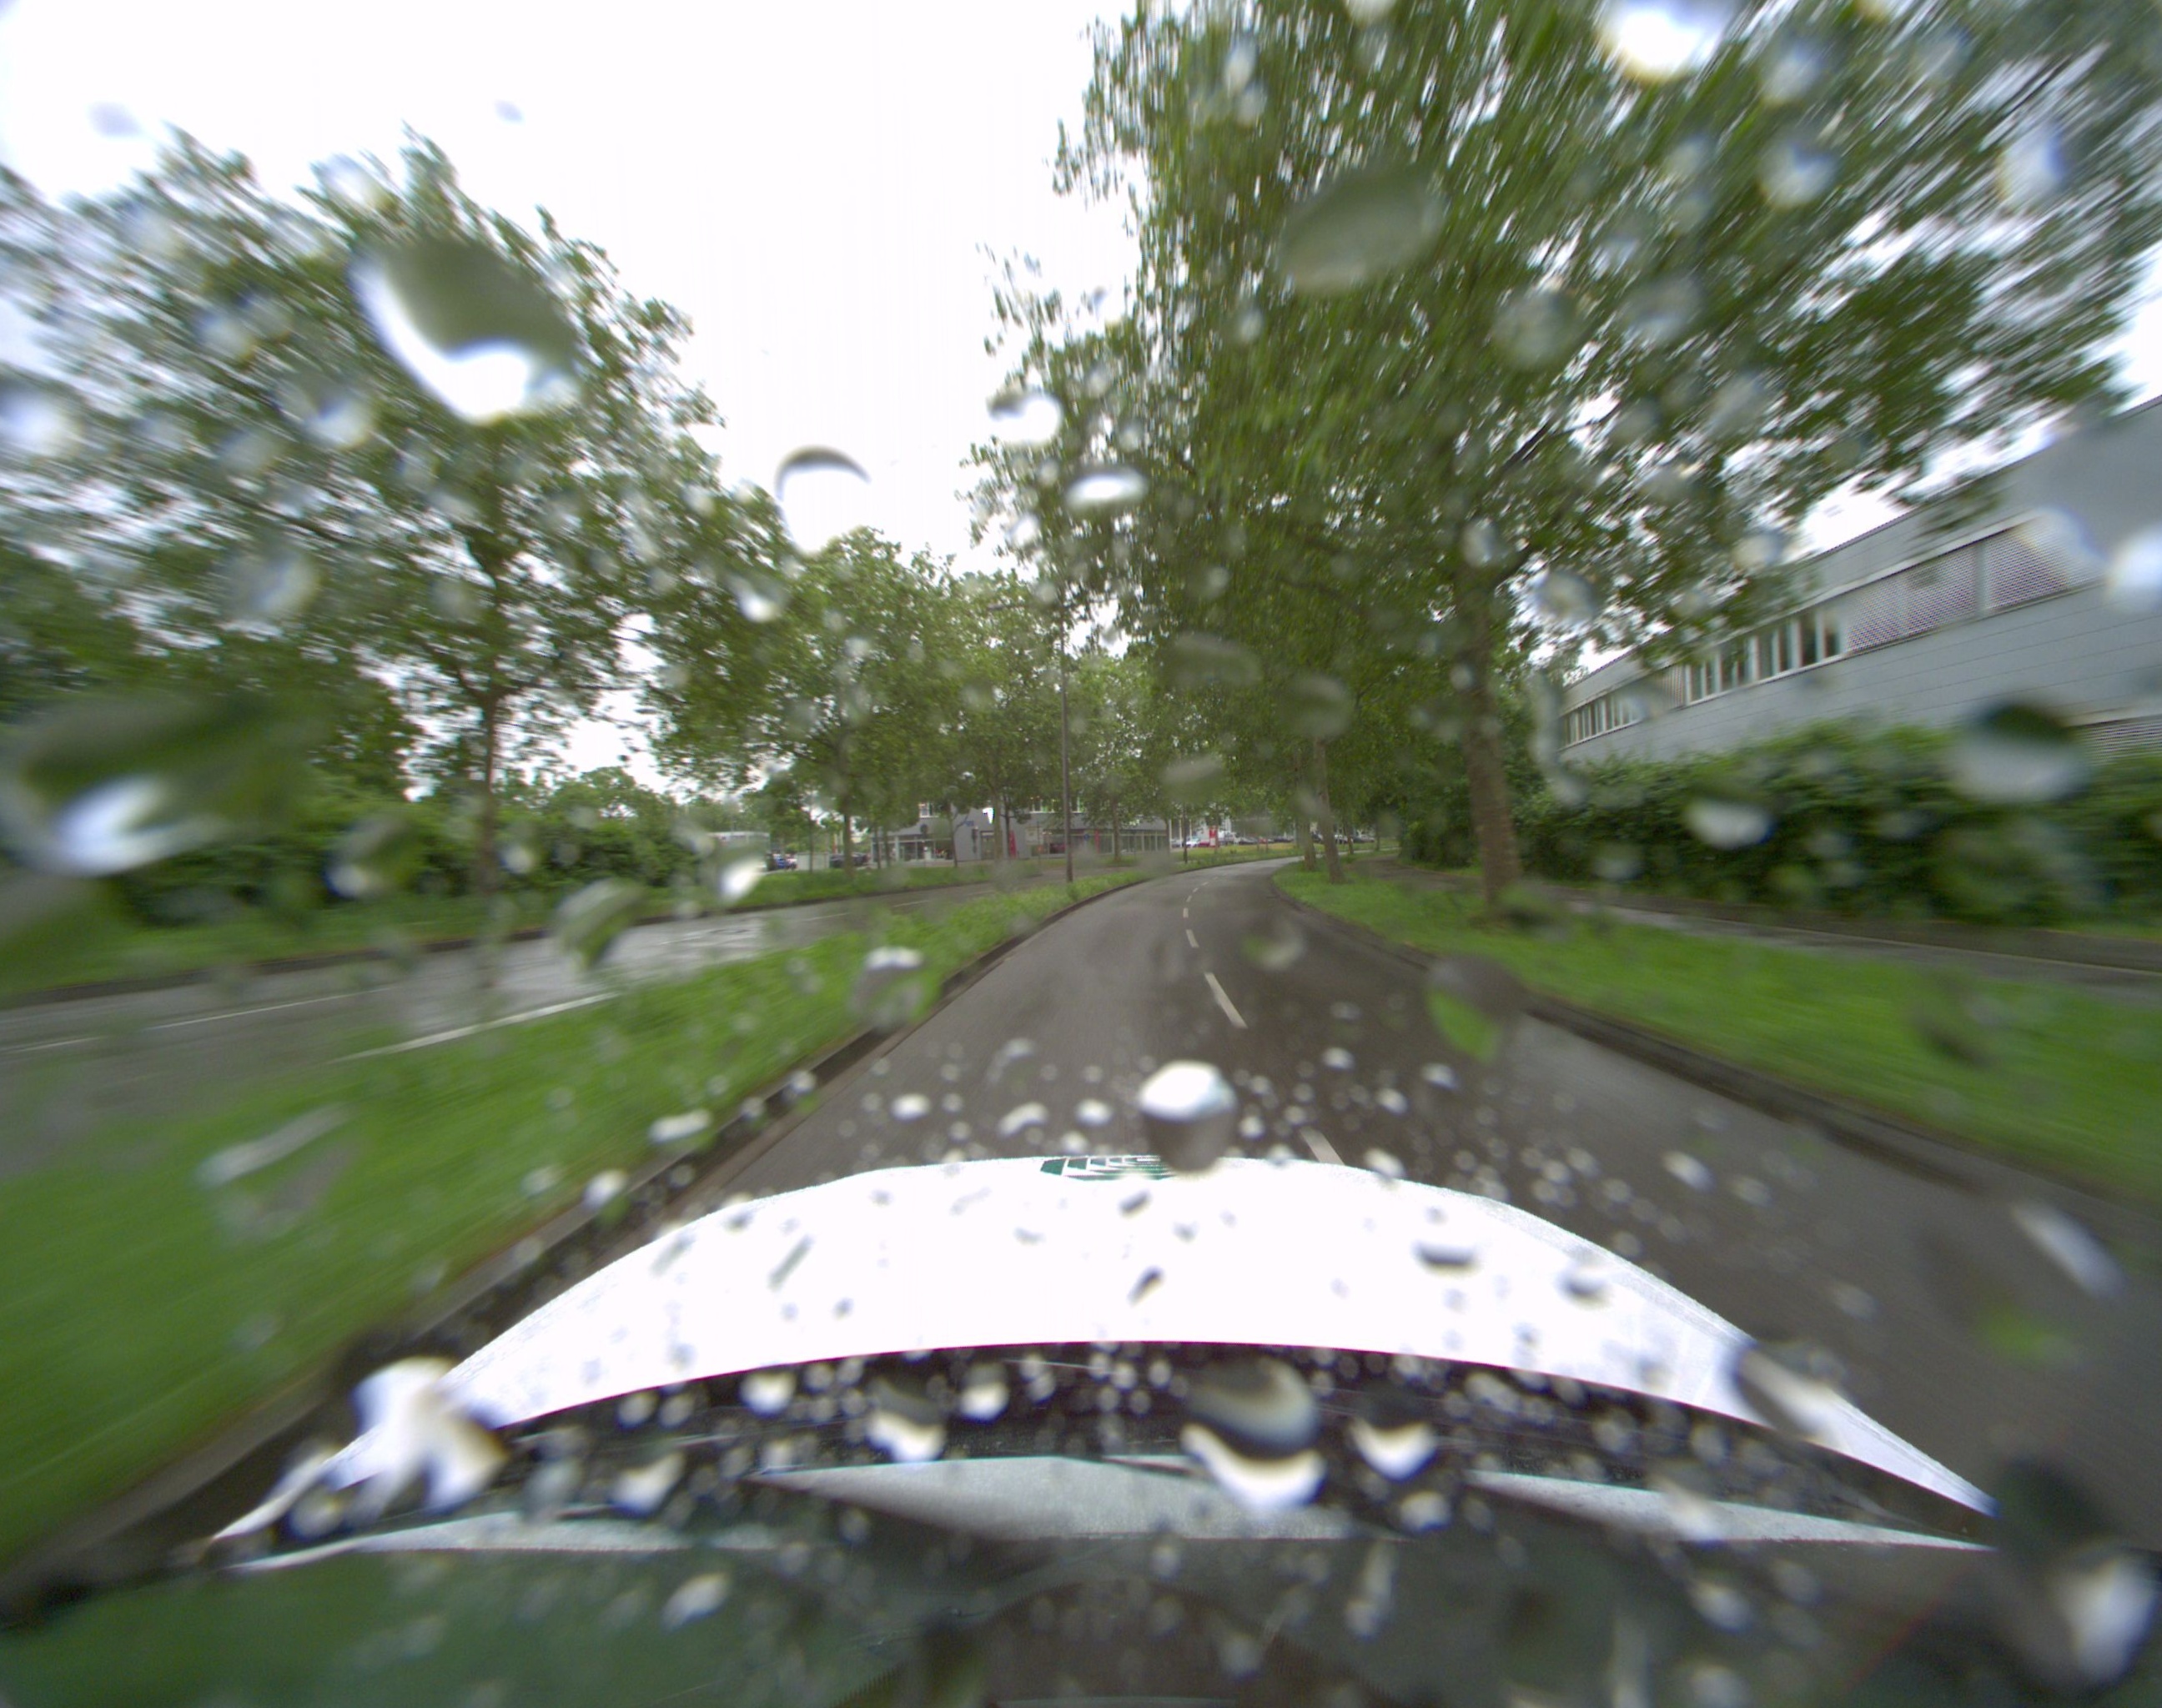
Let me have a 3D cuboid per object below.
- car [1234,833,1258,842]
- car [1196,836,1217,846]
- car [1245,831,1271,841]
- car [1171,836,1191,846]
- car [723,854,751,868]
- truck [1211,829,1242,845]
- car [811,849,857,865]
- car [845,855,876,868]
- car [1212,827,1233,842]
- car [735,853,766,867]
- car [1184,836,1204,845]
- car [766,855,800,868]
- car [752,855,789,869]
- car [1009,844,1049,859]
[{"bbox_3d":[27.609,-2.725,136.590,3.489,1.326,1.780,3,5,38],"label":"car"},{"bbox_3d":[20.833,-2.233,135.055,1.746,1.466,4.184,0,3,32],"label":"car"},{"bbox_3d":[30.638,-3.050,140.622,3.958,1.556,1.860,3,5,38],"label":"car"},{"bbox_3d":[17.084,-2.232,138.516,1.746,1.396,4.184,0,3,32],"label":"car"},{"bbox_3d":[-36.750,0.760,86.953,3.034,1.494,1.608,-1,1,44],"label":"car"},{"bbox_3d":[23.934,-2.753,133.565,2.225,2.343,6.235,3,5,39],"label":"truck"},{"bbox_3d":[-25.305,0.280,83.396,4.174,1.494,1.599,-2,0,2],"label":"car"},{"bbox_3d":[-27.234,0.956,100.800,3.292,1.494,1.599,-2,0,2],"label":"car"},{"bbox_3d":[26.331,-3.680,151.922,2.164,2.751,5.322,-1,2,-10],"label":"car"},{"bbox_3d":[-36.165,0.668,89.070,4.152,1.494,1.608,-1,1,44],"label":"car"},{"bbox_3d":[19.052,-2.242,137.259,1.746,1.396,4.184,0,3,32],"label":"car"},{"bbox_3d":[-37.759,0.996,103.245,3.746,1.494,1.599,-2,0,2],"label":"car"},{"bbox_3d":[-37.090,0.975,97.335,3.746,1.494,1.599,-2,0,2],"label":"car"},{"bbox_3d":[-5.611,-0.222,87.655,4.151,1.494,1.608,-1,1,32],"label":"car"}]
